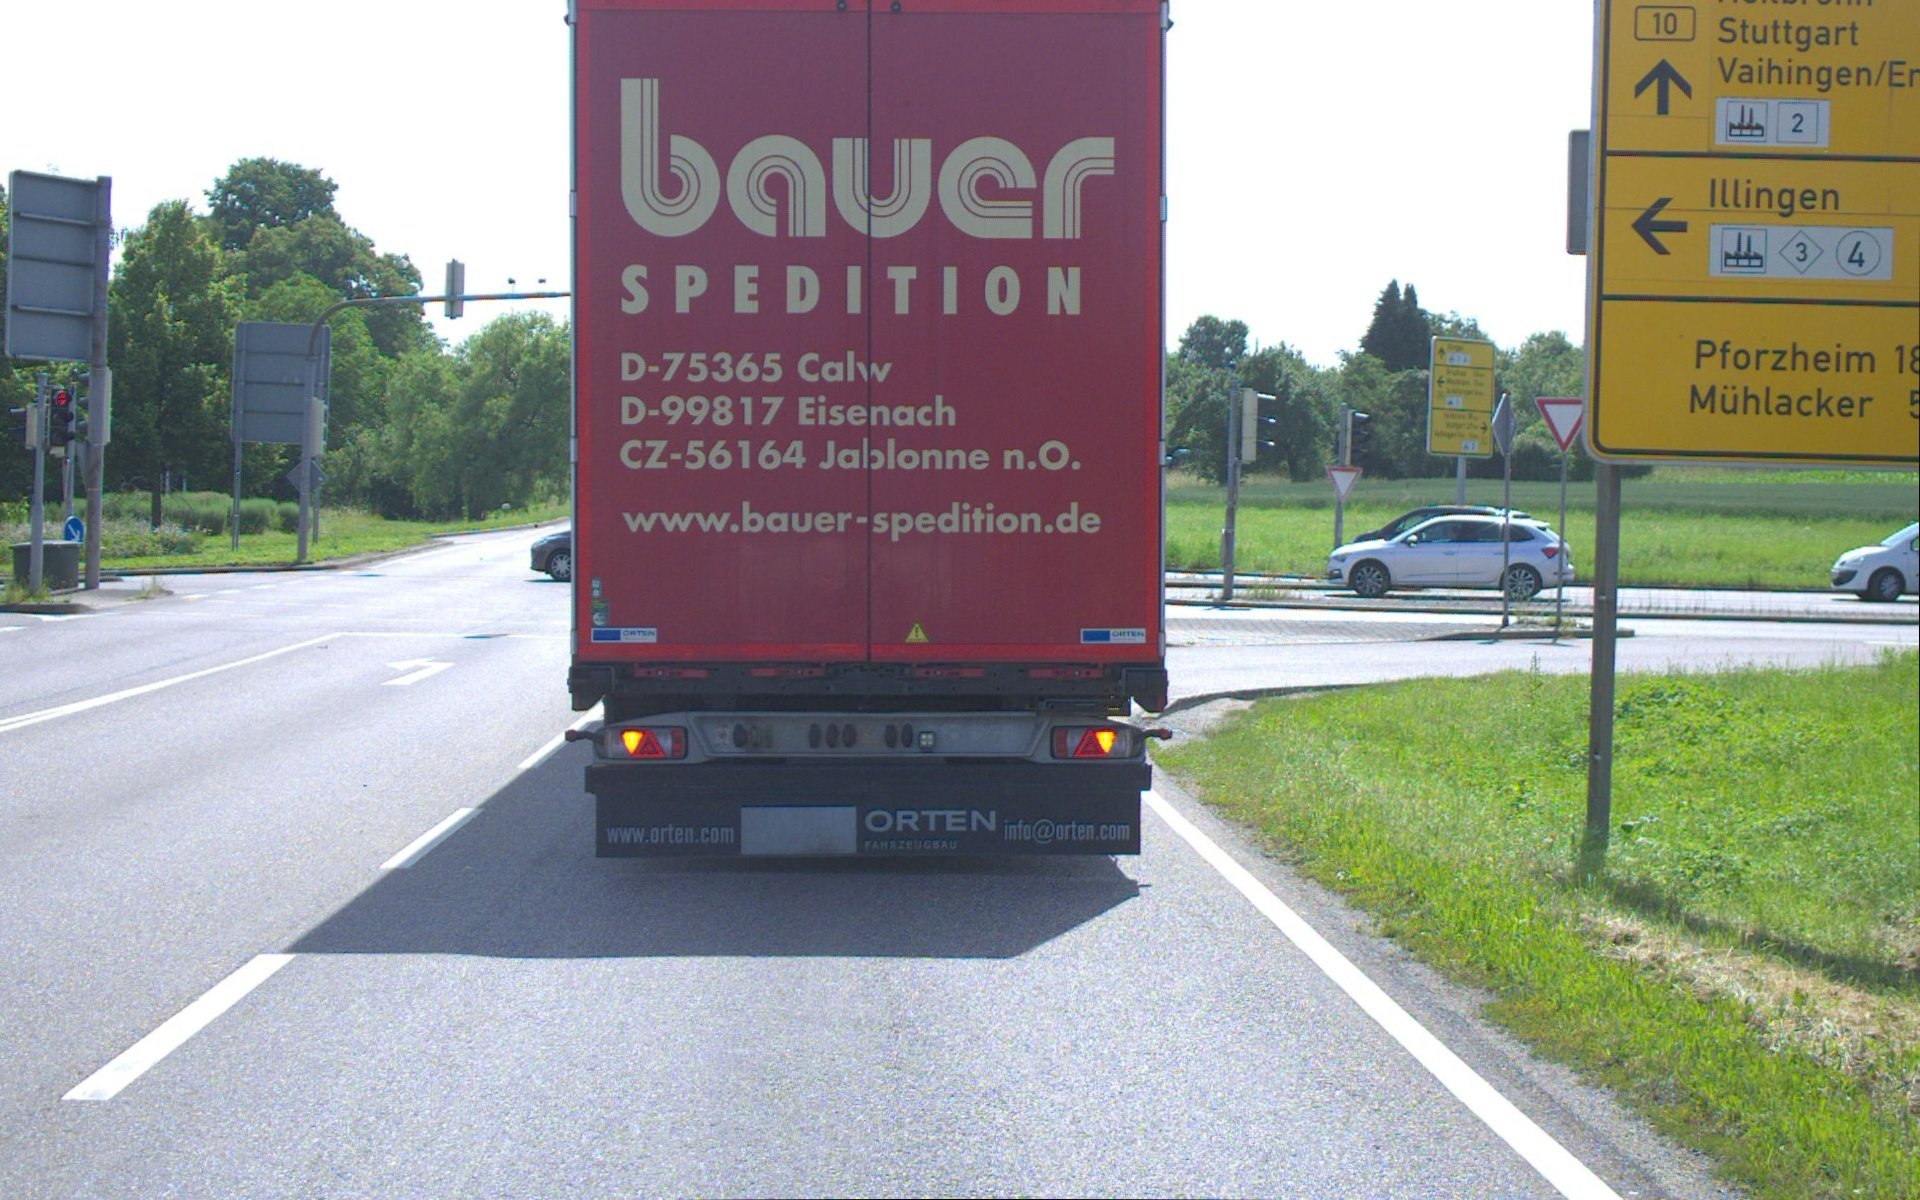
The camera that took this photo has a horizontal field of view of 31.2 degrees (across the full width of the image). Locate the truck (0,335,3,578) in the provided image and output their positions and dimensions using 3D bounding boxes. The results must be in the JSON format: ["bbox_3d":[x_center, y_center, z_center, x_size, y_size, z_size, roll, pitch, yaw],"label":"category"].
[{"bbox_3d":[-19.188,-2.419,56.930,5.830,4.047,2.796,2,2,17],"label":"truck"}]

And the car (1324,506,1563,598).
[{"bbox_3d":[8.649,-0.855,61.341,4.101,1.542,1.872,1,0,11],"label":"car"}]

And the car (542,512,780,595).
[{"bbox_3d":[-5.560,-0.868,64.089,3.989,1.424,1.999,1,1,12],"label":"car"}]

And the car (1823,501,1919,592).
[{"bbox_3d":[17.805,-0.955,62.420,3.827,1.628,1.761,0,1,1],"label":"car"}]

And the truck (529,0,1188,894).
[{"bbox_3d":[-0.730,-0.965,22.808,2.734,3.911,16.628,1,2,-2],"label":"truck"}]
